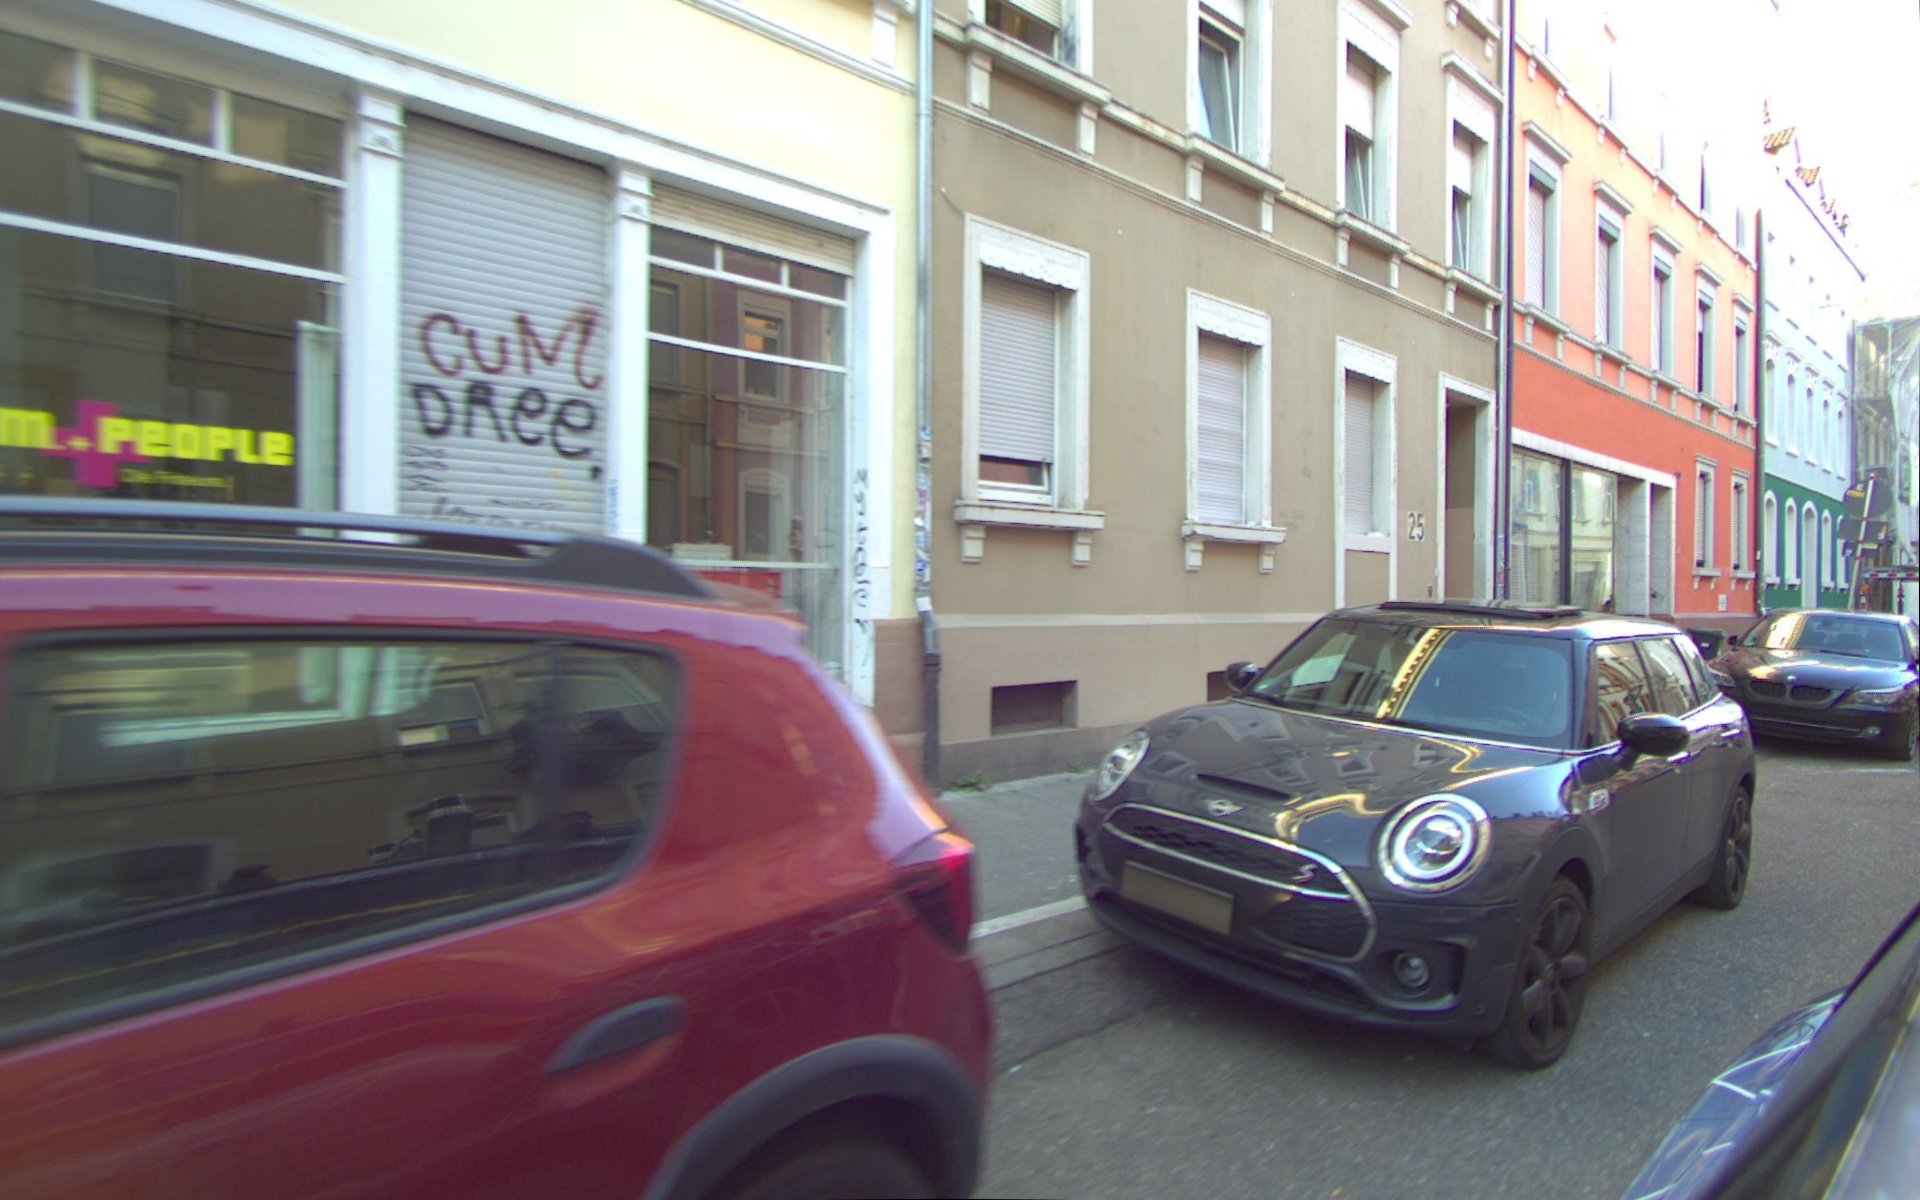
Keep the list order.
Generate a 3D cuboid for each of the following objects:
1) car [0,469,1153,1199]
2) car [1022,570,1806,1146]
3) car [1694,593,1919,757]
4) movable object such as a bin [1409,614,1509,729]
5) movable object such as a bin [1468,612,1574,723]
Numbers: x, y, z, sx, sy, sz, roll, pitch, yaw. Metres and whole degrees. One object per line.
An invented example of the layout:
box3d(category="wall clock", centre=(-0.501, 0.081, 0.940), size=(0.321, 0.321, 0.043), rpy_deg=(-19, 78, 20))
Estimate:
box3d(category="car", centre=(-1.682, 0.646, 1.451), size=(3.929, 1.570, 1.793), rpy_deg=(0, 1, -41))
box3d(category="car", centre=(2.439, 0.691, 4.805), size=(4.303, 1.541, 1.764), rpy_deg=(0, 0, -41))
box3d(category="car", centre=(10.073, 0.697, 11.526), size=(4.386, 1.501, 1.830), rpy_deg=(0, 1, -41))
box3d(category="movable object such as a bin", centre=(5.275, 0.727, 10.710), size=(0.630, 1.122, 0.717), rpy_deg=(1, 1, -40))
box3d(category="movable object such as a bin", centre=(6.214, 0.715, 11.213), size=(0.889, 1.122, 0.633), rpy_deg=(3, 1, 39))
